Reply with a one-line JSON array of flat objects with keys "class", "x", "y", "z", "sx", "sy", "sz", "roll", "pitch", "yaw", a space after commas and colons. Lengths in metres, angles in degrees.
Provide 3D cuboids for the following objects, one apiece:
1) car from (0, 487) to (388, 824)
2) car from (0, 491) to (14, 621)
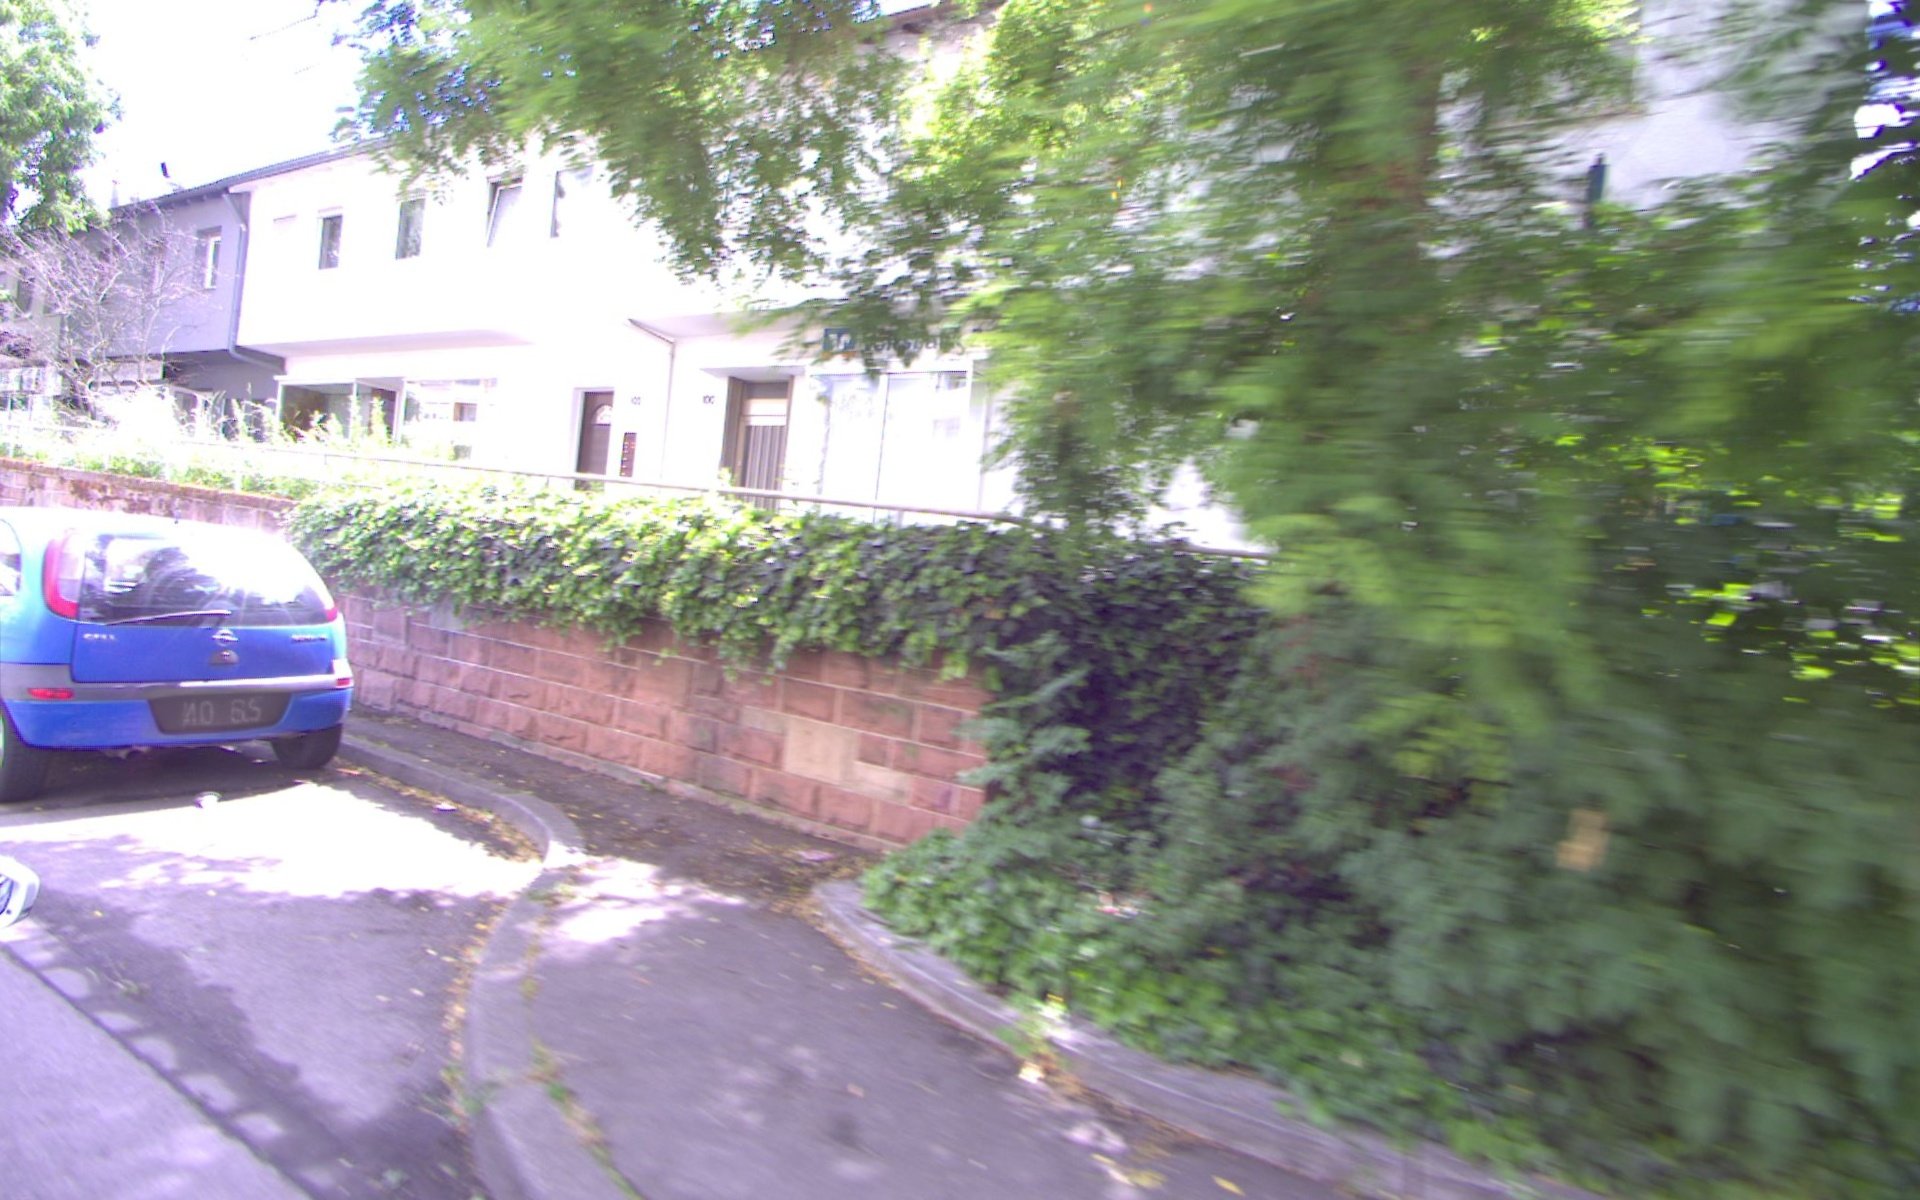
[{"class": "car", "x": -5.361, "y": 0.120, "z": 6.091, "sx": 3.613, "sy": 1.475, "sz": 1.609, "roll": 7, "pitch": 1, "yaw": 30}, {"class": "car", "x": -10.773, "y": -0.490, "z": 9.526, "sx": 3.758, "sy": 1.508, "sz": 1.647, "roll": 7, "pitch": 0, "yaw": 32}]
